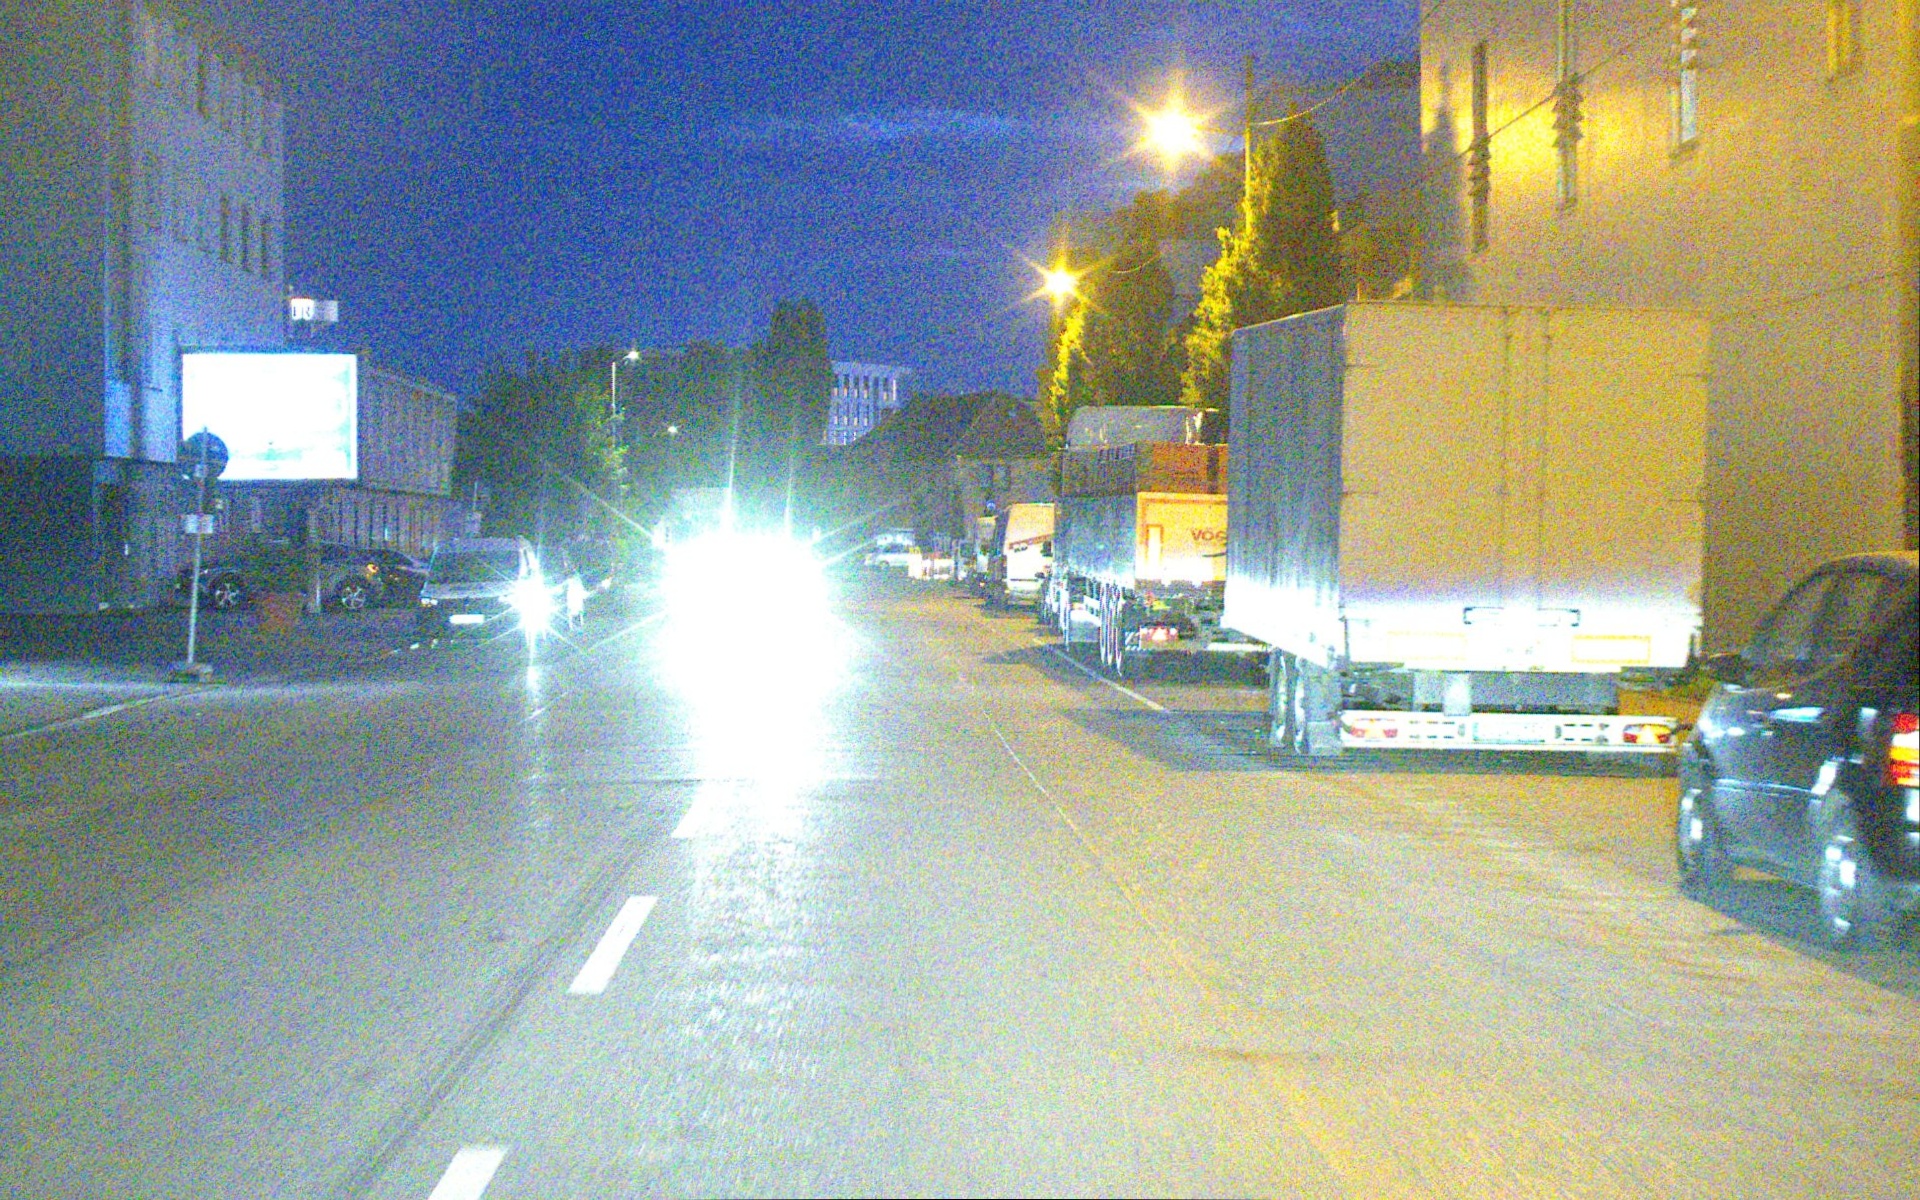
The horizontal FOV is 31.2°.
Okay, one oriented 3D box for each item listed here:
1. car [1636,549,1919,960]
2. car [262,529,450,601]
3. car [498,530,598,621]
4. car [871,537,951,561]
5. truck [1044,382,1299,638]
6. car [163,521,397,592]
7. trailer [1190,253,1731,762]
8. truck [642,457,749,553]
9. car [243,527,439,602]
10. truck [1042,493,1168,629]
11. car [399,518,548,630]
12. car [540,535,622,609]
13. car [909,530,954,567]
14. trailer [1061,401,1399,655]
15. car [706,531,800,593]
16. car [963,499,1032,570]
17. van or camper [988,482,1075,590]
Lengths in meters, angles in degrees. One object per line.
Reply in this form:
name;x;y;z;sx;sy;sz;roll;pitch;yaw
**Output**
car;4.221;0.537;14.650;1.852;1.514;3.818;-2;0;-1
car;-14.428;-0.839;82.158;3.986;1.589;2.000;-2;0;-27
car;-8.119;-0.510;68.042;1.678;1.730;4.356;0;1;-3
car;-2.824;-2.966;199.925;4.531;1.375;2.000;0;0;2
truck;3.002;-1.265;50.781;3.151;3.451;6.673;-2;0;-1
car;-14.600;-0.939;73.774;4.612;1.480;2.001;0;1;-23
trailer;3.676;-0.658;27.325;2.686;3.452;7.810;0;0;-4
truck;-10.411;-3.674;134.456;3.889;3.609;8.262;0;1;-6
car;-14.254;-0.818;79.200;3.986;1.589;2.000;-2;0;-27
truck;2.607;-0.731;62.953;1.993;2.399;5.293;0;1;-1
car;-8.042;-0.453;57.150;1.993;1.787;4.000;0;1;-1
car;-9.139;-0.698;83.064;1.897;1.730;4.356;0;1;-5
car;-1.305;-2.332;155.405;1.993;1.678;4.000;0;1;-1
trailer;3.166;-0.844;43.644;3.184;2.739;10.716;-2;0;-1
car;-4.717;-0.893;78.983;1.993;1.393;4.000;0;1;-1
car;1.123;-1.993;105.065;1.993;2.138;4.000;0;1;-1
van or camper;1.731;-1.569;84.568;1.993;2.573;4.915;0;1;0
